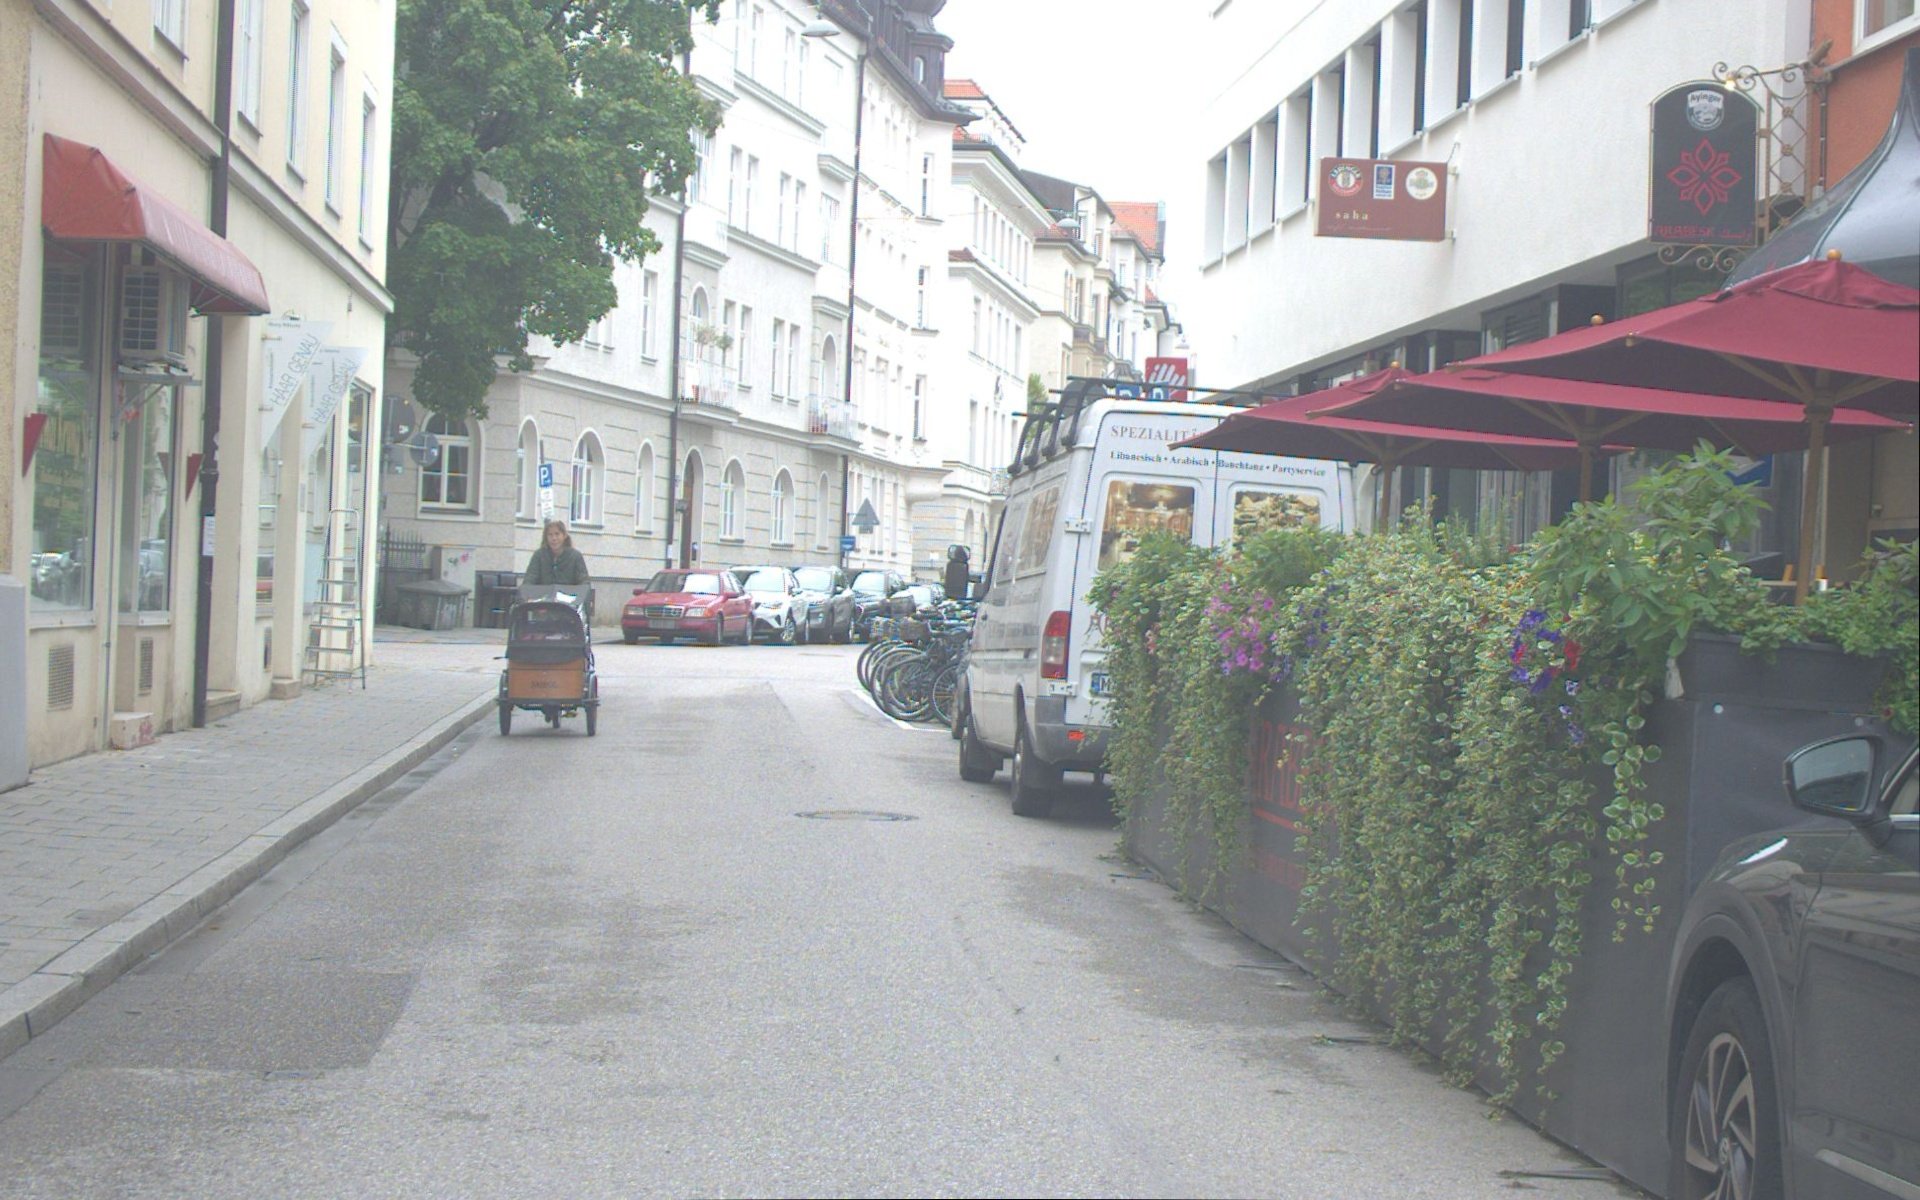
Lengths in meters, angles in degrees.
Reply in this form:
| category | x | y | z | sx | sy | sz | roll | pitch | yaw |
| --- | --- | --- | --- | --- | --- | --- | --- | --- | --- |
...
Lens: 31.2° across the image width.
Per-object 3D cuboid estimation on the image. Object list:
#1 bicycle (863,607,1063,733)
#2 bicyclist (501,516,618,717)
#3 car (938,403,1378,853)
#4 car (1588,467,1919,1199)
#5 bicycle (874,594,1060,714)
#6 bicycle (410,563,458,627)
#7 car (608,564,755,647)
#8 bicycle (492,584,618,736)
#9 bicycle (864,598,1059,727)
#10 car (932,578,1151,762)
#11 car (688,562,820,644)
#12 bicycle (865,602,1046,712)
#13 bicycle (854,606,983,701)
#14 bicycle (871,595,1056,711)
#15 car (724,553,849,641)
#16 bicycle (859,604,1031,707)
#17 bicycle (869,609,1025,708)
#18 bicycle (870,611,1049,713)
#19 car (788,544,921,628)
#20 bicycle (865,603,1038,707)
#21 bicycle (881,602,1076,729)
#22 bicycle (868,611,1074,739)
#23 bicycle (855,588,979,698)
| category | x | y | z | sx | sy | sz | roll | pitch | yaw |
| --- | --- | --- | --- | --- | --- | --- | --- | --- | --- |
| bicycle | 0.023 | 0.690 | 34.179 | 1.873 | 1.104 | 0.488 | 4 | 1 | -6 |
| bicyclist | -3.513 | 0.136 | 30.248 | 0.926 | 1.715 | 1.099 | 1 | 0 | -3 |
| car | 1.136 | 0.126 | 22.938 | 1.920 | 2.497 | 5.998 | 4 | 0 | -5 |
| car | 2.470 | 0.686 | 5.523 | 1.824 | 1.704 | 4.389 | 3 | 0 | -3 |
| bicycle | 0.066 | 0.565 | 36.120 | 1.873 | 1.200 | 0.580 | 1 | 0 | -6 |
| bicycle | -9.308 | -0.094 | 60.854 | 0.493 | 1.049 | 1.827 | 3 | 2 | 1 |
| car | -5.010 | 0.100 | 62.358 | 1.731 | 1.373 | 4.225 | 3 | 0 | 8 |
| bicycle | -3.502 | 0.501 | 29.906 | 0.932 | 1.253 | 2.414 | 1 | 0 | -4 |
| bicycle | 0.014 | 0.632 | 34.699 | 1.873 | 1.200 | 0.488 | 2 | 1 | -6 |
| car | 0.670 | 0.578 | 30.525 | 1.580 | 1.459 | 3.552 | 3 | 0 | -4 |
| car | -4.009 | 0.048 | 67.505 | 1.994 | 1.468 | 4.218 | 3 | 0 | 4 |
| bicycle | -0.051 | 0.618 | 37.286 | 1.873 | 1.091 | 0.440 | 2 | 1 | -7 |
| bicycle | -0.500 | 0.648 | 41.581 | 1.450 | 1.066 | 0.463 | 3 | 0 | -11 |
| bicycle | 0.033 | 0.565 | 36.722 | 1.893 | 1.166 | 0.566 | 2 | 0 | -7 |
| car | -3.598 | -0.065 | 72.123 | 1.943 | 1.696 | 3.999 | 3 | 0 | 6 |
| bicycle | -0.168 | 0.627 | 39.123 | 1.873 | 1.076 | 0.408 | 2 | 1 | -7 |
| bicycle | -0.158 | 0.683 | 40.366 | 1.740 | 1.076 | 0.452 | 2 | 1 | -7 |
| bicycle | -0.010 | 0.685 | 37.994 | 1.873 | 1.048 | 0.564 | 2 | -1 | -7 |
| car | -2.333 | -0.294 | 77.066 | 1.994 | 1.732 | 4.520 | 3 | 0 | 10 |
| bicycle | -0.099 | 0.622 | 38.688 | 1.873 | 1.076 | 0.402 | 2 | 1 | -7 |
| bicycle | 0.185 | 0.674 | 35.395 | 1.873 | 1.153 | 0.565 | 4 | 1 | -6 |
| bicycle | 0.102 | 0.725 | 33.263 | 1.873 | 1.076 | 0.488 | 5 | 1 | -6 |
| bicycle | -0.534 | 0.525 | 42.592 | 1.456 | 1.281 | 0.445 | 3 | 0 | -3 |
